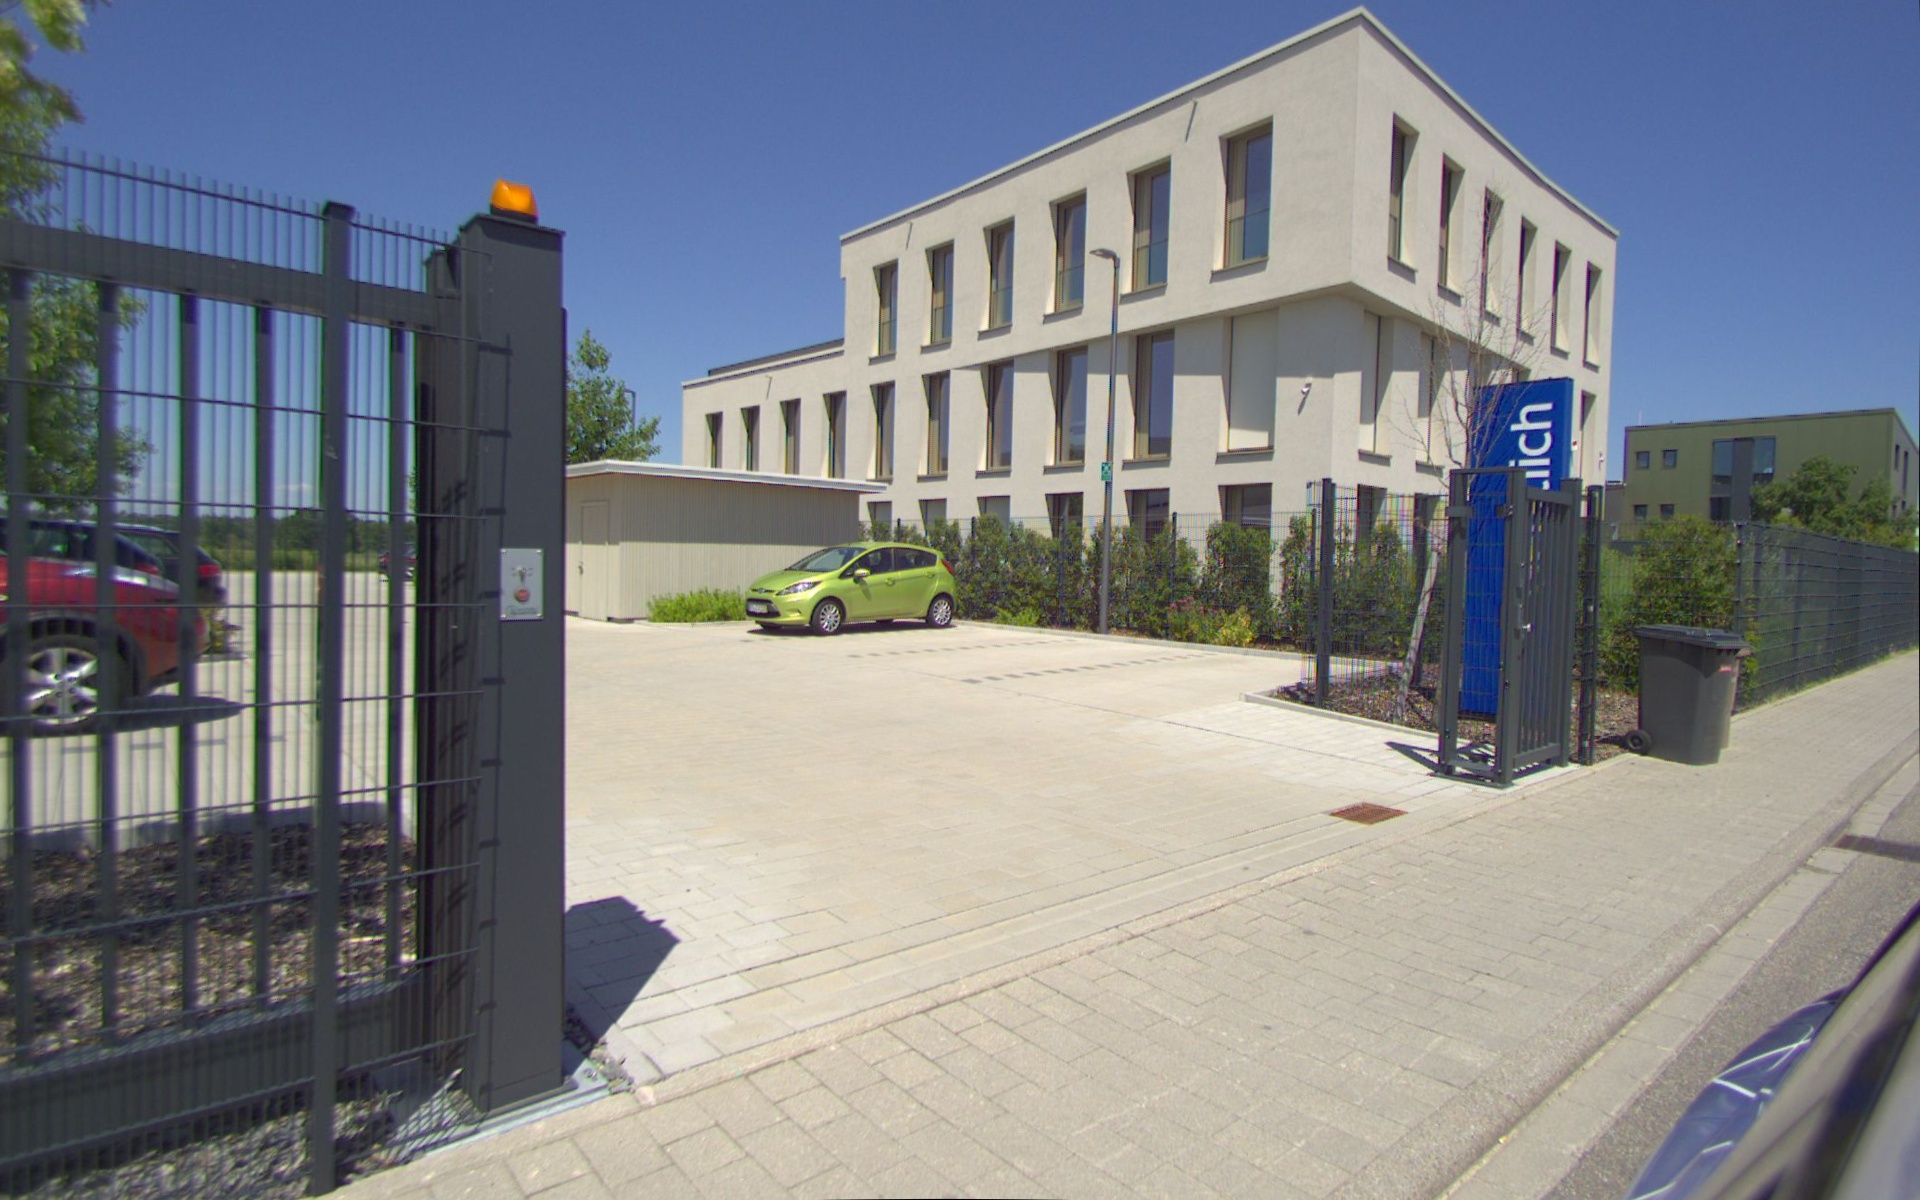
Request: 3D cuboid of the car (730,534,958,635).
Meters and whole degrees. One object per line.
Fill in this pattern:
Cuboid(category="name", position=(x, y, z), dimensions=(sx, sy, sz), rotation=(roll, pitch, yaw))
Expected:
Cuboid(category="car", position=(-1.844, -0.284, 16.752), dimensions=(1.610, 1.482, 3.544), rotation=(2, 2, 44))

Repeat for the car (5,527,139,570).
Cuboid(category="car", position=(-34.916, -2.006, 39.862), dimensions=(3.872, 1.450, 1.671), rotation=(1, 1, -43))

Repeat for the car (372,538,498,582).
Cuboid(category="car", position=(-19.750, -1.498, 38.161), dimensions=(3.872, 1.450, 1.671), rotation=(1, 1, -43))

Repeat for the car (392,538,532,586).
Cuboid(category="car", position=(-16.684, -1.258, 34.008), dimensions=(3.872, 1.450, 1.671), rotation=(1, 1, -43))

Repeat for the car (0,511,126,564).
Cuboid(category="car", position=(-32.706, -2.245, 36.562), dimensions=(3.872, 1.686, 1.671), rotation=(1, 1, -43))

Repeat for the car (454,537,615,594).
Cuboid(category="car", position=(-12.123, -0.957, 28.972), dimensions=(3.872, 1.450, 1.671), rotation=(1, 1, -43))

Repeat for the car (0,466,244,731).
Cuboid(category="car", position=(-6.866, -0.052, 6.040), dimensions=(4.010, 1.577, 1.670), rotation=(1, 1, -44))

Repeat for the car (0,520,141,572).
Cuboid(category="car", position=(-28.889, -1.719, 32.530), dimensions=(3.872, 1.450, 1.671), rotation=(1, 1, -43))

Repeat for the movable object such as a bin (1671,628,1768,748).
Cuboid(category="movable object such as a bin", position=(6.587, 0.740, 8.782), dimensions=(0.545, 0.936, 0.525), rotation=(-1, 3, -40))

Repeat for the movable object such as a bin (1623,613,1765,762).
Cuboid(category="movable object such as a bin", position=(5.935, 0.671, 8.187), dimensions=(0.686, 1.061, 0.749), rotation=(-1, 3, -40))

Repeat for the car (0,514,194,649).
Cuboid(category="car", position=(-10.988, -0.239, 11.379), dimensions=(3.615, 1.450, 1.671), rotation=(1, 1, -43))

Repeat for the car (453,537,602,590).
Cuboid(category="car", position=(-13.330, -1.098, 31.294), dimensions=(3.872, 1.450, 1.671), rotation=(1, 1, -43))

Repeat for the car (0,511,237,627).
Cuboid(category="car", position=(-12.200, -0.410, 13.578), dimensions=(3.872, 1.450, 1.671), rotation=(1, 1, -43))
